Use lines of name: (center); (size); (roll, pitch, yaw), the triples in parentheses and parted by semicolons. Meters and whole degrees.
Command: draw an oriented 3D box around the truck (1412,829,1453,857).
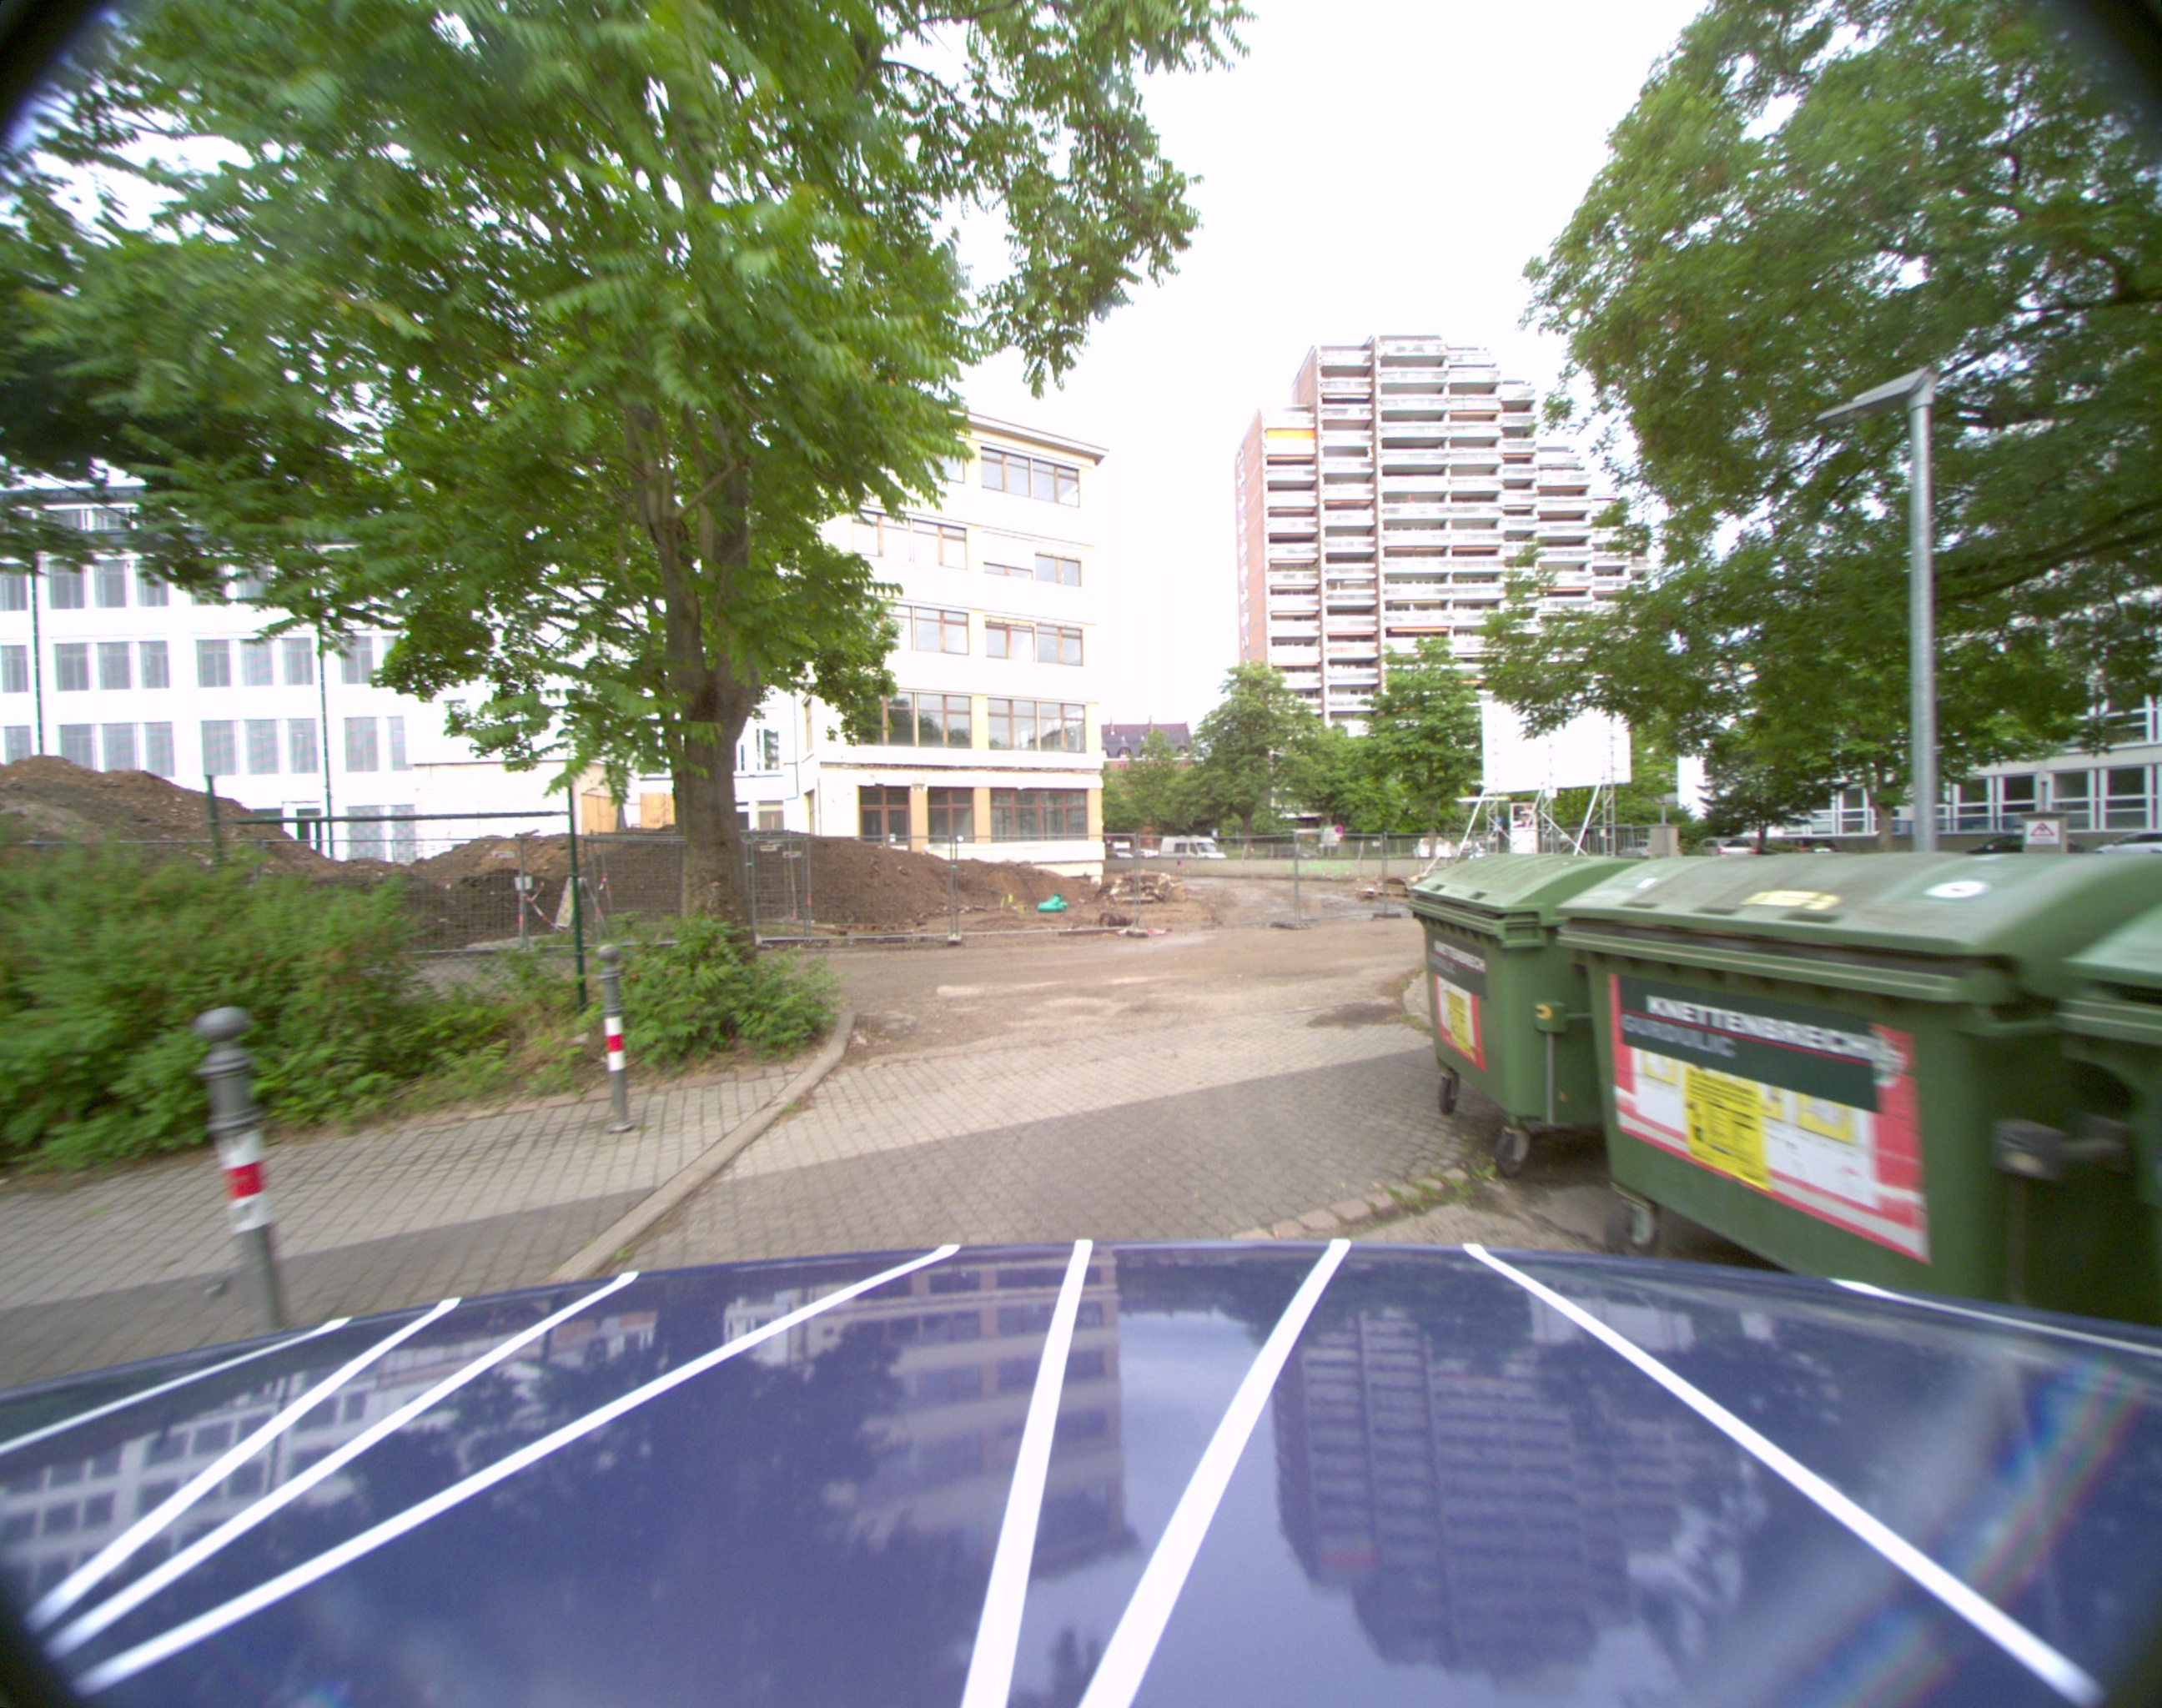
truck: (25.210, -0.804, 54.655); (1.996, 1.838, 5.069); (-2, 1, 18)

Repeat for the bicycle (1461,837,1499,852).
bicycle: (24.372, -0.566, 46.421); (0.471, 0.864, 2.133); (-2, 1, -31)

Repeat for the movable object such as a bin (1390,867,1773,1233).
movable object such as a bin: (2.332, 0.832, 3.805); (1.055, 1.442, 1.354); (-2, 2, 3)

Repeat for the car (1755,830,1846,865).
car: (34.173, -0.334, 36.202); (1.696, 1.515, 3.709); (-2, 2, 18)

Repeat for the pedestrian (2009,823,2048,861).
pedestrian: (40.629, -0.531, 32.584); (0.734, 1.603, 0.754); (-3, 3, -7)

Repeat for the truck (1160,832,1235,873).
truck: (7.917, -0.127, 52.297); (2.122, 2.587, 5.479); (-3, 1, -28)

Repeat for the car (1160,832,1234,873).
car: (7.907, -0.127, 52.316); (2.122, 2.587, 5.479); (-3, 1, -28)

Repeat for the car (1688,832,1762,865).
car: (32.852, -0.329, 38.863); (1.569, 1.515, 3.655); (-2, 2, 18)

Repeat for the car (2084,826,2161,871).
car: (39.259, -0.217, 27.595); (1.696, 1.476, 4.034); (-2, 2, 24)

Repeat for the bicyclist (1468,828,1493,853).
bicyclist: (24.376, -0.798, 46.357); (0.847, 1.492, 1.025); (-2, 1, -31)

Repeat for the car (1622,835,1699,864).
car: (31.863, -0.284, 41.902); (1.800, 1.456, 4.436); (-1, 2, 15)

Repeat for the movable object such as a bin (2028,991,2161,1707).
movable object such as a bin: (2.388, 0.888, 0.823); (1.055, 1.257, 1.353); (-2, 1, -6)

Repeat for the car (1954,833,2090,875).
car: (37.838, -0.043, 30.696); (1.696, 1.515, 3.709); (-2, 2, 18)

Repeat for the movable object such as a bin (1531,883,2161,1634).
movable object such as a bin: (2.327, 0.864, 2.286); (1.055, 1.448, 1.353); (-2, 1, -6)
